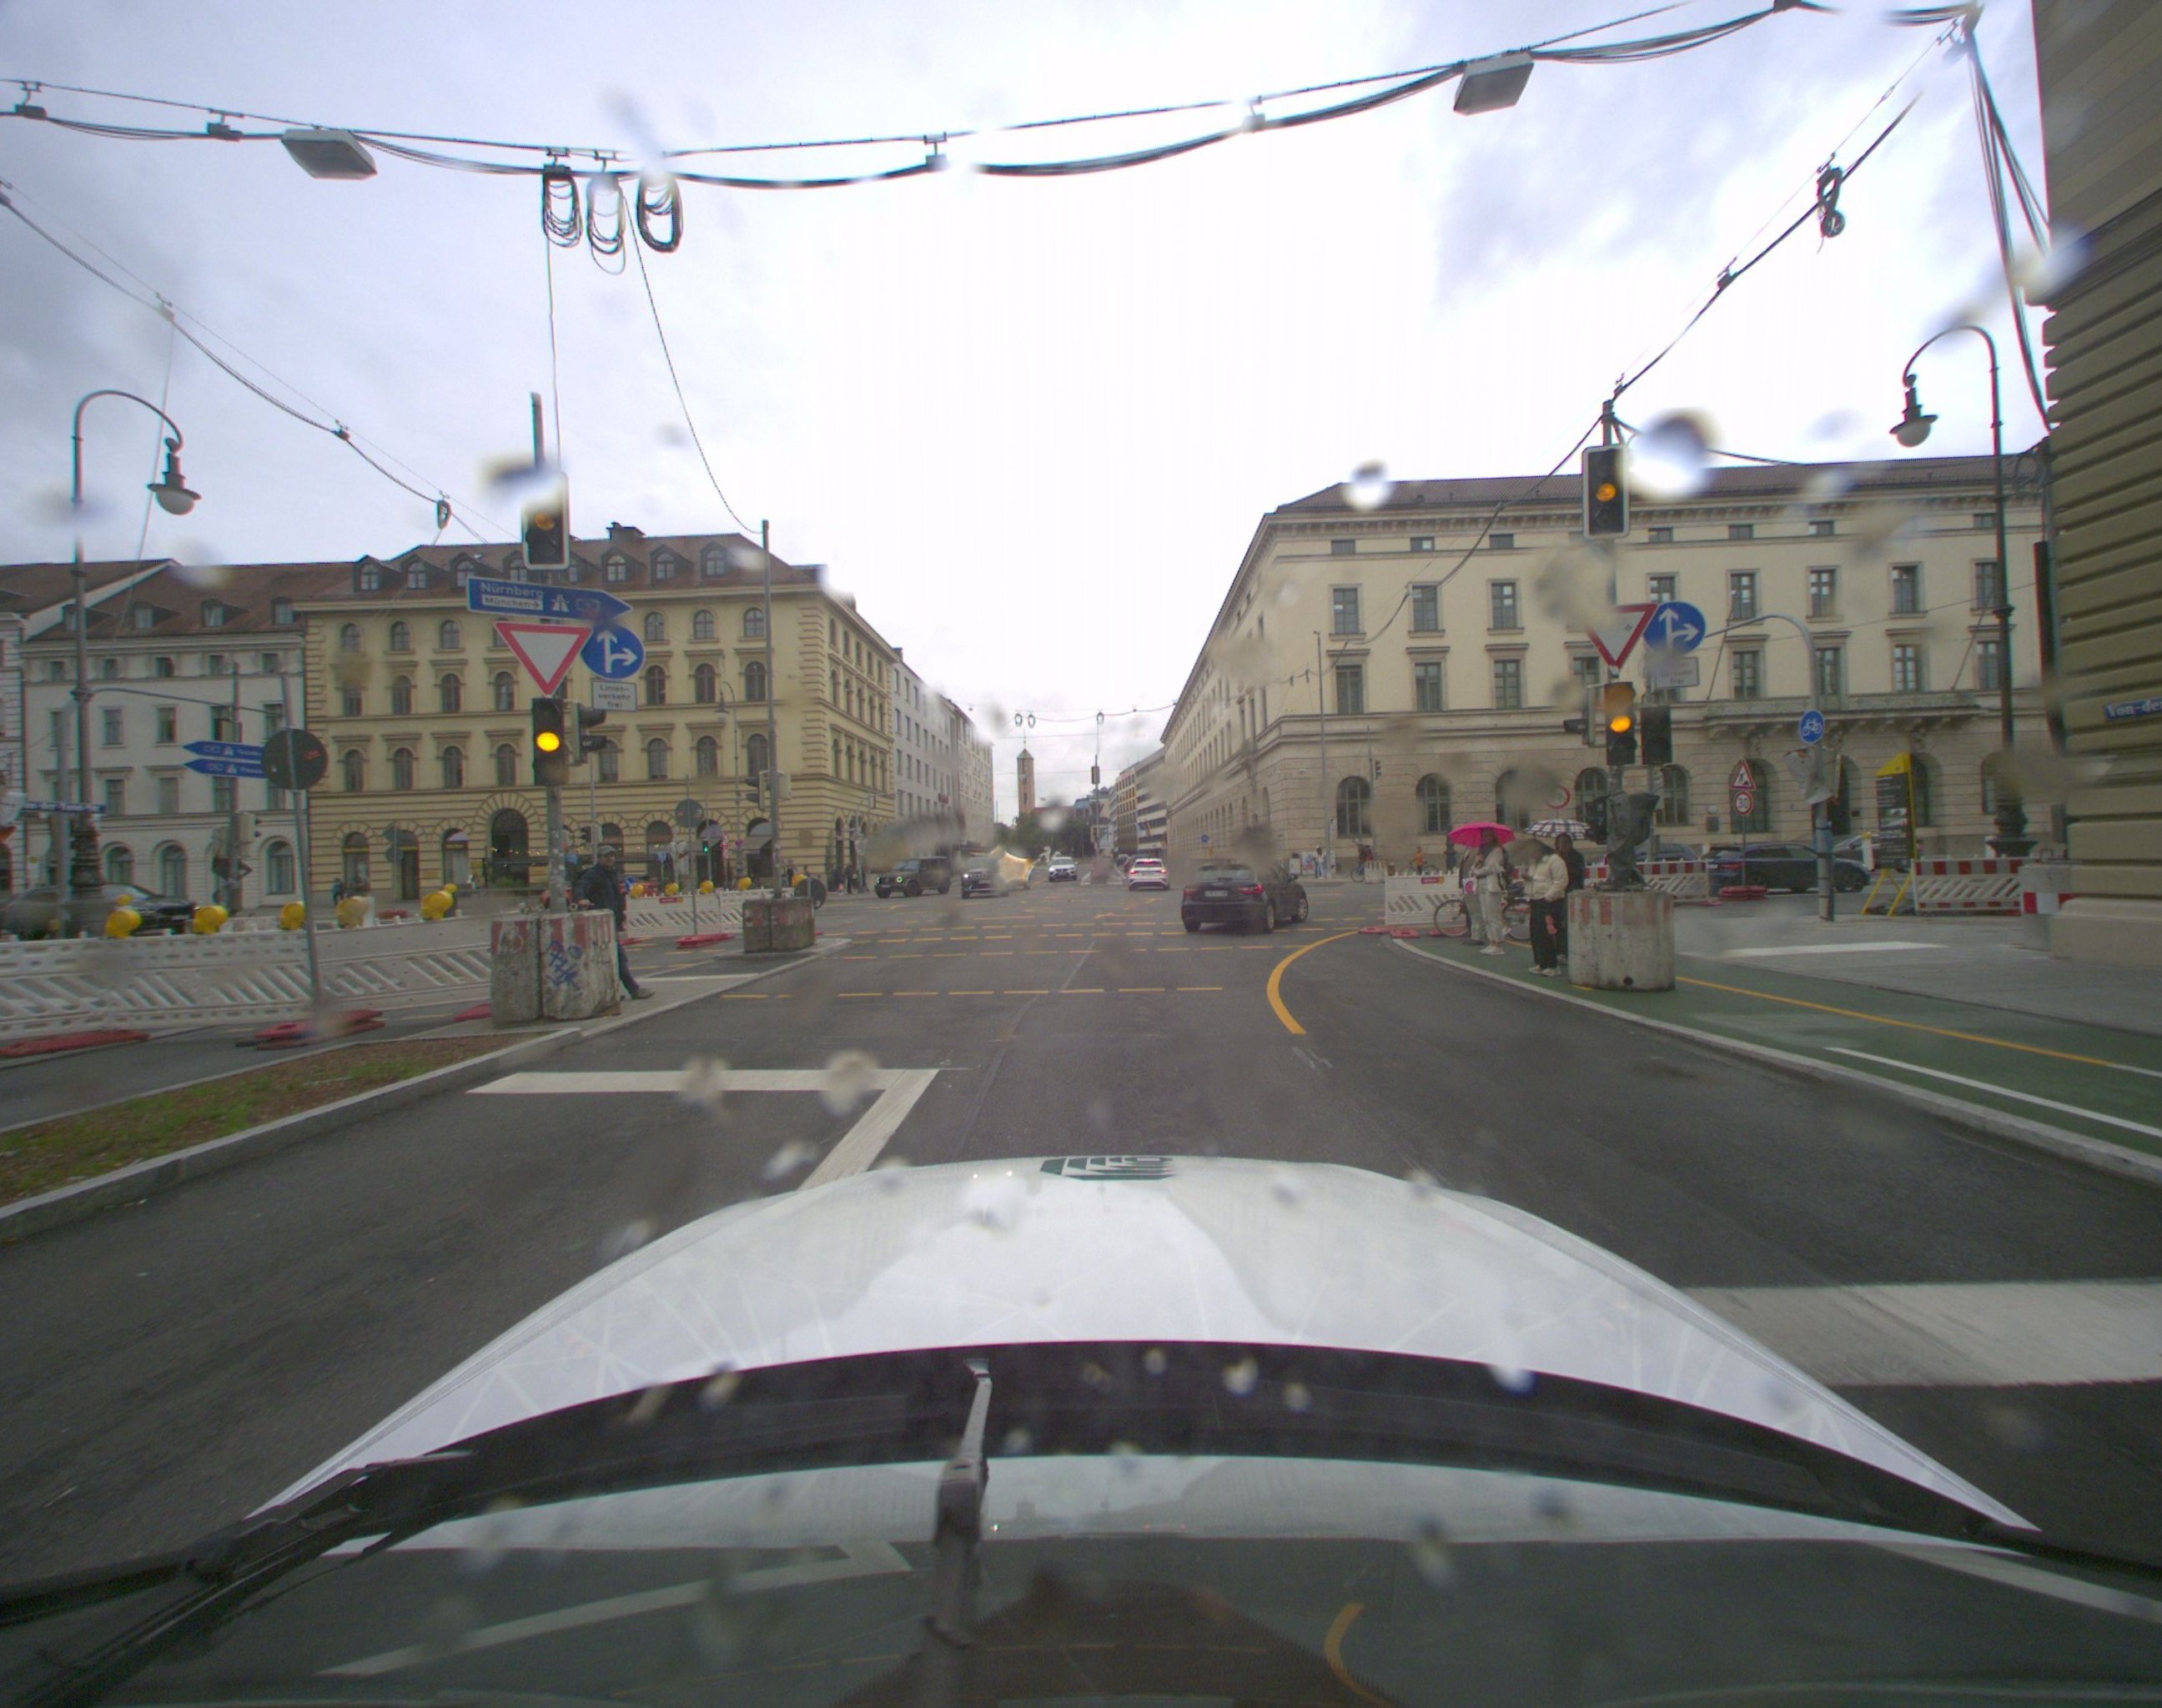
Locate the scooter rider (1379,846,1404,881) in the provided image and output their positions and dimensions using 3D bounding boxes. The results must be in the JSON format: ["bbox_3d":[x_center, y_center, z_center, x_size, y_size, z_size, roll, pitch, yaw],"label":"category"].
[{"bbox_3d":[14.578,0.433,38.261,0.928,1.622,0.593,-1,0,2],"label":"scooter rider"}]

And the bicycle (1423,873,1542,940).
[{"bbox_3d":[6.573,0.825,13.378,1.636,1.011,0.590,-1,0,43],"label":"bicycle"}]

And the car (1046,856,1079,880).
[{"bbox_3d":[-1.186,0.908,54.730,1.987,1.524,4.233,-2,0,1],"label":"car"}]

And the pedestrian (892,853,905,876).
[{"bbox_3d":[-13.909,0.797,62.091,0.734,1.772,0.736,-1,0,1],"label":"pedestrian"}]

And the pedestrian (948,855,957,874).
[{"bbox_3d":[-12.130,0.961,76.780,0.734,1.772,0.736,-1,0,1],"label":"pedestrian"}]

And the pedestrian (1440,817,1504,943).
[{"bbox_3d":[6.046,0.395,12.628,0.699,1.885,0.642,-1,0,6],"label":"pedestrian"}]

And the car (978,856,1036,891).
[{"bbox_3d":[-3.811,0.985,42.721,1.781,1.677,4.246,-2,0,11],"label":"car"}]

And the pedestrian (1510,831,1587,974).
[{"bbox_3d":[5.475,0.551,9.569,0.529,1.620,0.674,-1,0,3],"label":"pedestrian"}]

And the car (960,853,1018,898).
[{"bbox_3d":[-3.891,0.874,35.191,1.989,1.734,4.583,-2,0,-1],"label":"car"}]

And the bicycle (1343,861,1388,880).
[{"bbox_3d":[13.793,0.811,39.525,1.963,0.879,0.662,-1,0,3],"label":"bicycle"}]

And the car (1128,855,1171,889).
[{"bbox_3d":[3.215,0.790,37.379,1.804,1.424,4.460,-1,0,6],"label":"car"}]

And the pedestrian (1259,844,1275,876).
[{"bbox_3d":[10.268,0.343,44.923,0.578,1.755,0.825,-1,0,32],"label":"pedestrian"}]

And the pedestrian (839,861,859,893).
[{"bbox_3d":[-12.945,1.269,45.435,0.727,1.772,0.743,-1,0,22],"label":"pedestrian"}]

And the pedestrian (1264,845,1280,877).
[{"bbox_3d":[10.706,0.383,45.678,0.578,1.755,0.825,-1,0,32],"label":"pedestrian"}]

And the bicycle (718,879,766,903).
[{"bbox_3d":[-17.217,1.858,41.410,2.201,1.099,0.595,-2,-1,-24],"label":"bicycle"}]

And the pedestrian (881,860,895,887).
[{"bbox_3d":[-12.848,1.314,54.152,0.734,1.772,0.736,-1,0,1],"label":"pedestrian"}]

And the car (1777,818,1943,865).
[{"bbox_3d":[29.628,-0.459,31.089,4.545,1.567,1.791,-2,-2,0],"label":"car"}]

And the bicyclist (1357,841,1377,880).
[{"bbox_3d":[13.893,0.316,39.518,0.740,1.842,0.661,-1,0,4],"label":"bicyclist"}]

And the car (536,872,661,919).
[{"bbox_3d":[-19.914,1.676,33.767,3.987,1.720,1.817,-2,0,-10],"label":"car"}]

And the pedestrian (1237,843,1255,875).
[{"bbox_3d":[9.351,0.270,46.081,0.822,1.755,0.580,-1,0,-30],"label":"pedestrian"}]

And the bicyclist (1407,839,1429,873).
[{"bbox_3d":[16.244,0.080,39.249,0.740,1.615,0.796,-1,0,4],"label":"bicyclist"}]

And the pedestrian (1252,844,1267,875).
[{"bbox_3d":[10.226,0.336,46.683,0.811,1.755,0.588,-1,0,15],"label":"pedestrian"}]

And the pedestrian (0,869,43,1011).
[{"bbox_3d":[-14.035,1.091,10.305,0.840,1.772,0.740,-1,0,3],"label":"pedestrian"}]

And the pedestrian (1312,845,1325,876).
[{"bbox_3d":[12.828,0.341,43.964,0.612,1.671,0.543,-1,0,9],"label":"pedestrian"}]

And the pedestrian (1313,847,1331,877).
[{"bbox_3d":[12.809,0.407,43.226,0.812,1.557,0.669,-1,0,9],"label":"pedestrian"}]

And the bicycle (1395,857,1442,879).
[{"bbox_3d":[16.261,0.675,39.250,1.949,1.040,0.796,-1,0,3],"label":"bicycle"}]

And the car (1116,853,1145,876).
[{"bbox_3d":[3.606,0.728,59.848,1.858,1.601,3.851,-2,0,1],"label":"car"}]

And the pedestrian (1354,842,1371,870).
[{"bbox_3d":[15.775,0.108,45.674,0.663,1.527,0.820,-1,0,-1],"label":"pedestrian"}]

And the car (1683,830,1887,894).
[{"bbox_3d":[19.047,0.208,22.169,3.972,1.617,1.775,-1,0,1],"label":"car"}]

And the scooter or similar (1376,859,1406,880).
[{"bbox_3d":[14.567,0.741,38.257,1.206,0.965,0.588,-1,0,2],"label":"scooter or similar"}]

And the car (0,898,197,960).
[{"bbox_3d":[-31.491,2.372,26.168,3.973,1.684,2.000,-2,0,1],"label":"car"}]

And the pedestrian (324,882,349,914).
[{"bbox_3d":[-42.414,2.481,46.390,0.731,1.772,0.739,-2,0,1],"label":"pedestrian"}]

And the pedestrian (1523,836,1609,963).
[{"bbox_3d":[6.218,0.568,10.477,0.699,1.567,0.682,-1,0,3],"label":"pedestrian"}]

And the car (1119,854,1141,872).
[{"bbox_3d":[4.584,0.808,76.965,1.858,1.601,3.851,-2,0,1],"label":"car"}]

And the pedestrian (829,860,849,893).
[{"bbox_3d":[-13.267,1.217,44.705,0.727,1.772,0.765,-1,0,22],"label":"pedestrian"}]

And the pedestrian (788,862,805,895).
[{"bbox_3d":[-15.622,1.357,44.731,0.733,1.772,0.737,-1,0,-9],"label":"pedestrian"}]

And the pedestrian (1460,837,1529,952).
[{"bbox_3d":[5.814,0.560,11.471,0.699,1.567,0.542,-1,0,3],"label":"pedestrian"}]

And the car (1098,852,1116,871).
[{"bbox_3d":[2.989,0.845,95.074,1.987,2.013,4.000,-2,0,1],"label":"car"}]

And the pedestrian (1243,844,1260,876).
[{"bbox_3d":[9.319,0.329,44.439,0.811,1.755,0.683,-1,0,17],"label":"pedestrian"}]

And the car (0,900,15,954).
[{"bbox_3d":[-34.578,2.234,23.955,3.974,1.594,1.801,-1,0,0],"label":"car"}]

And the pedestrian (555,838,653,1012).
[{"bbox_3d":[-5.112,0.716,8.783,0.512,1.743,1.040,-2,0,-8],"label":"pedestrian"}]

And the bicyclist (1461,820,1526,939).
[{"bbox_3d":[6.710,0.401,13.243,0.789,1.854,0.571,-1,0,43],"label":"bicyclist"}]

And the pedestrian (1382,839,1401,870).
[{"bbox_3d":[16.892,0.036,44.348,0.712,1.694,0.820,-1,0,3],"label":"pedestrian"}]

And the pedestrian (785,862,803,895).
[{"bbox_3d":[-15.505,1.318,43.989,0.733,1.772,0.737,-1,0,-9],"label":"pedestrian"}]

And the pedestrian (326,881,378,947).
[{"bbox_3d":[-20.241,1.656,22.621,0.734,1.772,0.736,-1,0,2],"label":"pedestrian"}]

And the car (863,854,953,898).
[{"bbox_3d":[-8.696,1.068,41.379,2.218,2.013,4.475,-2,0,23],"label":"car"}]

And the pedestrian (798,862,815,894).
[{"bbox_3d":[-15.378,1.347,45.621,0.733,1.772,0.737,-1,0,-7],"label":"pedestrian"}]

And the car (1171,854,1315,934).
[{"bbox_3d":[3.480,0.741,16.864,1.846,1.388,4.024,-1,0,27],"label":"car"}]
